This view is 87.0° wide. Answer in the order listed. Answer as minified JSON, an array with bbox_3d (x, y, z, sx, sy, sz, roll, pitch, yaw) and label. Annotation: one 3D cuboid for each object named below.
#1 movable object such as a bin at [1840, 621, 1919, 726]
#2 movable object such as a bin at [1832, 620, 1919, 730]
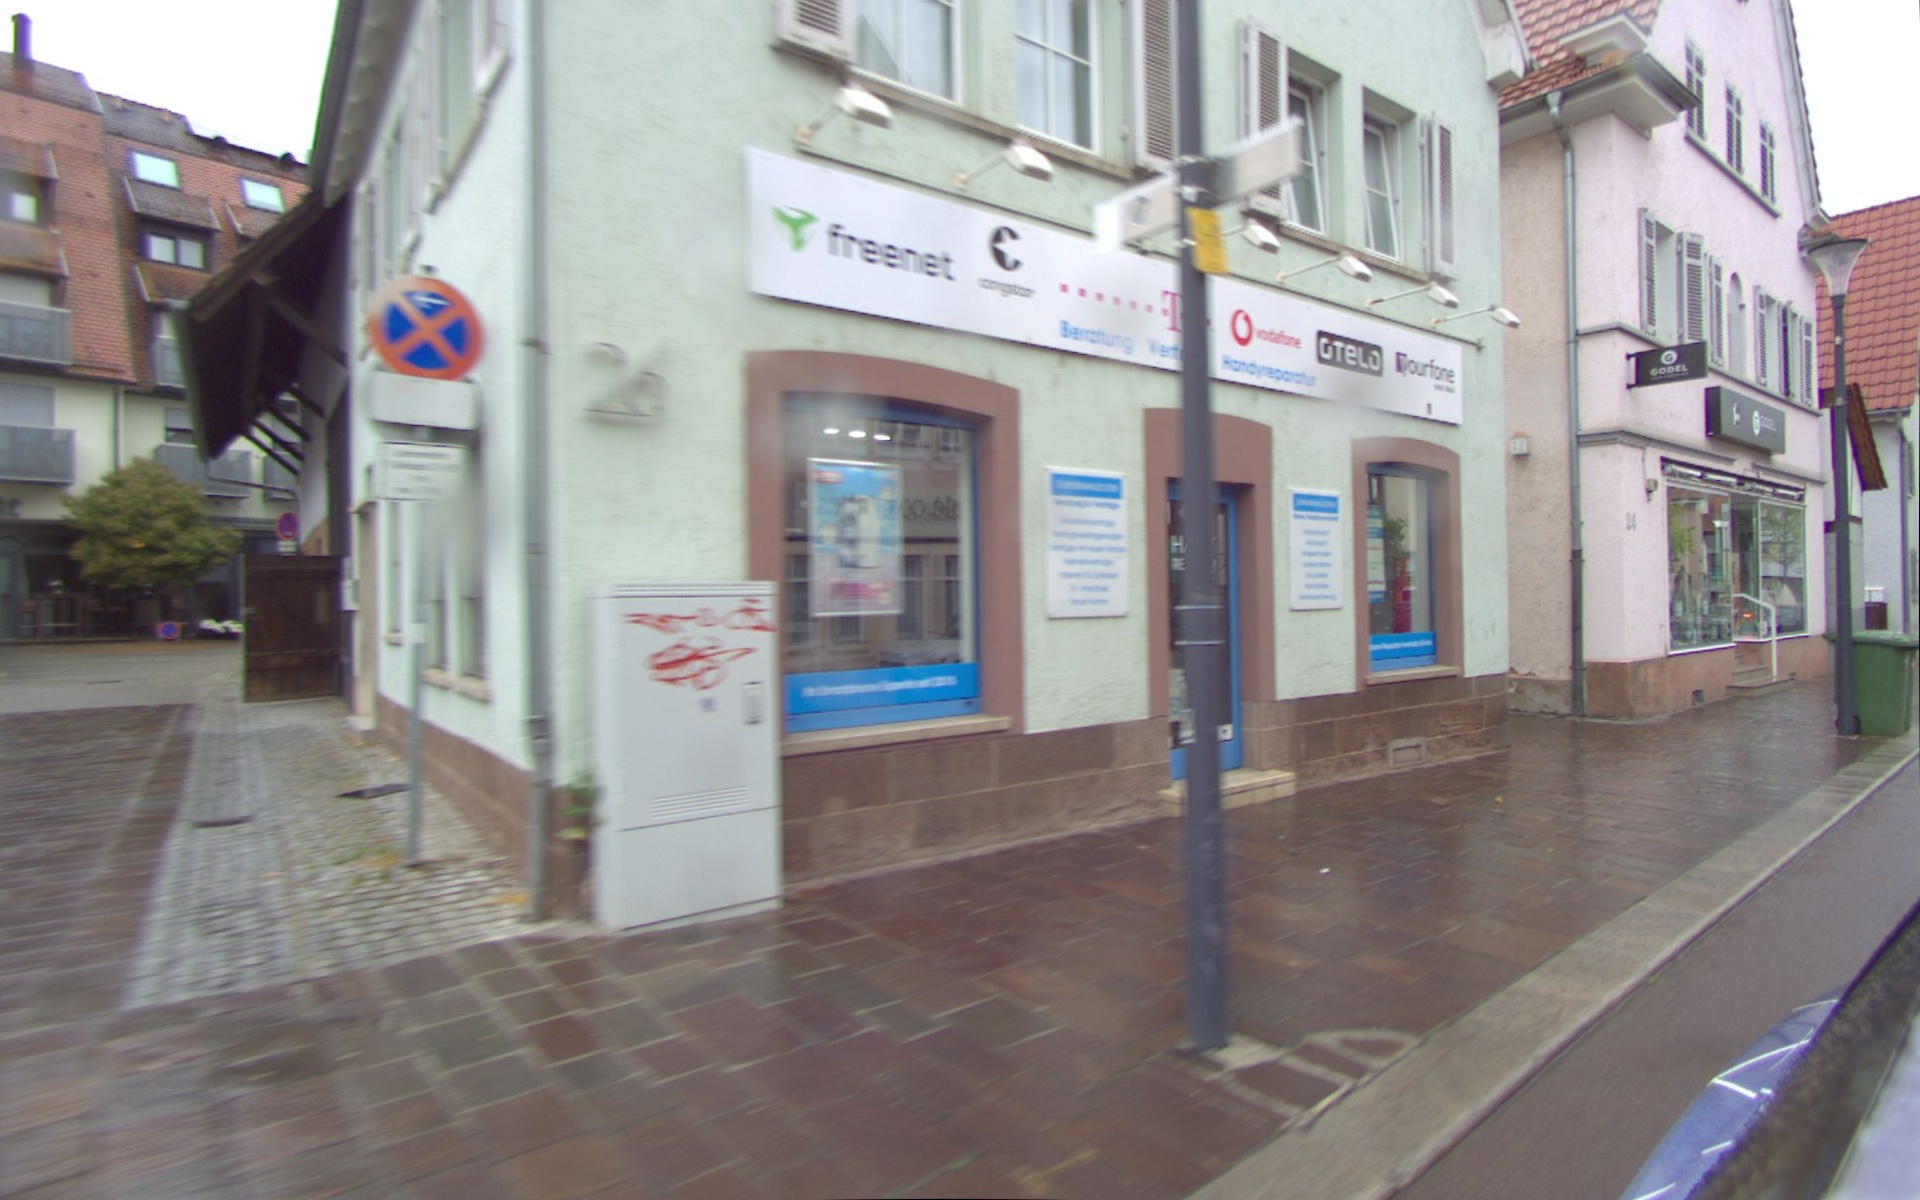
[{"bbox_3d":[10.250,0.791,11.124,0.605,1.094,0.793,-1,0,-43],"label":"movable object such as a bin"},{"bbox_3d":[9.805,0.772,10.713,0.573,1.094,0.797,-1,0,-43],"label":"movable object such as a bin"}]
